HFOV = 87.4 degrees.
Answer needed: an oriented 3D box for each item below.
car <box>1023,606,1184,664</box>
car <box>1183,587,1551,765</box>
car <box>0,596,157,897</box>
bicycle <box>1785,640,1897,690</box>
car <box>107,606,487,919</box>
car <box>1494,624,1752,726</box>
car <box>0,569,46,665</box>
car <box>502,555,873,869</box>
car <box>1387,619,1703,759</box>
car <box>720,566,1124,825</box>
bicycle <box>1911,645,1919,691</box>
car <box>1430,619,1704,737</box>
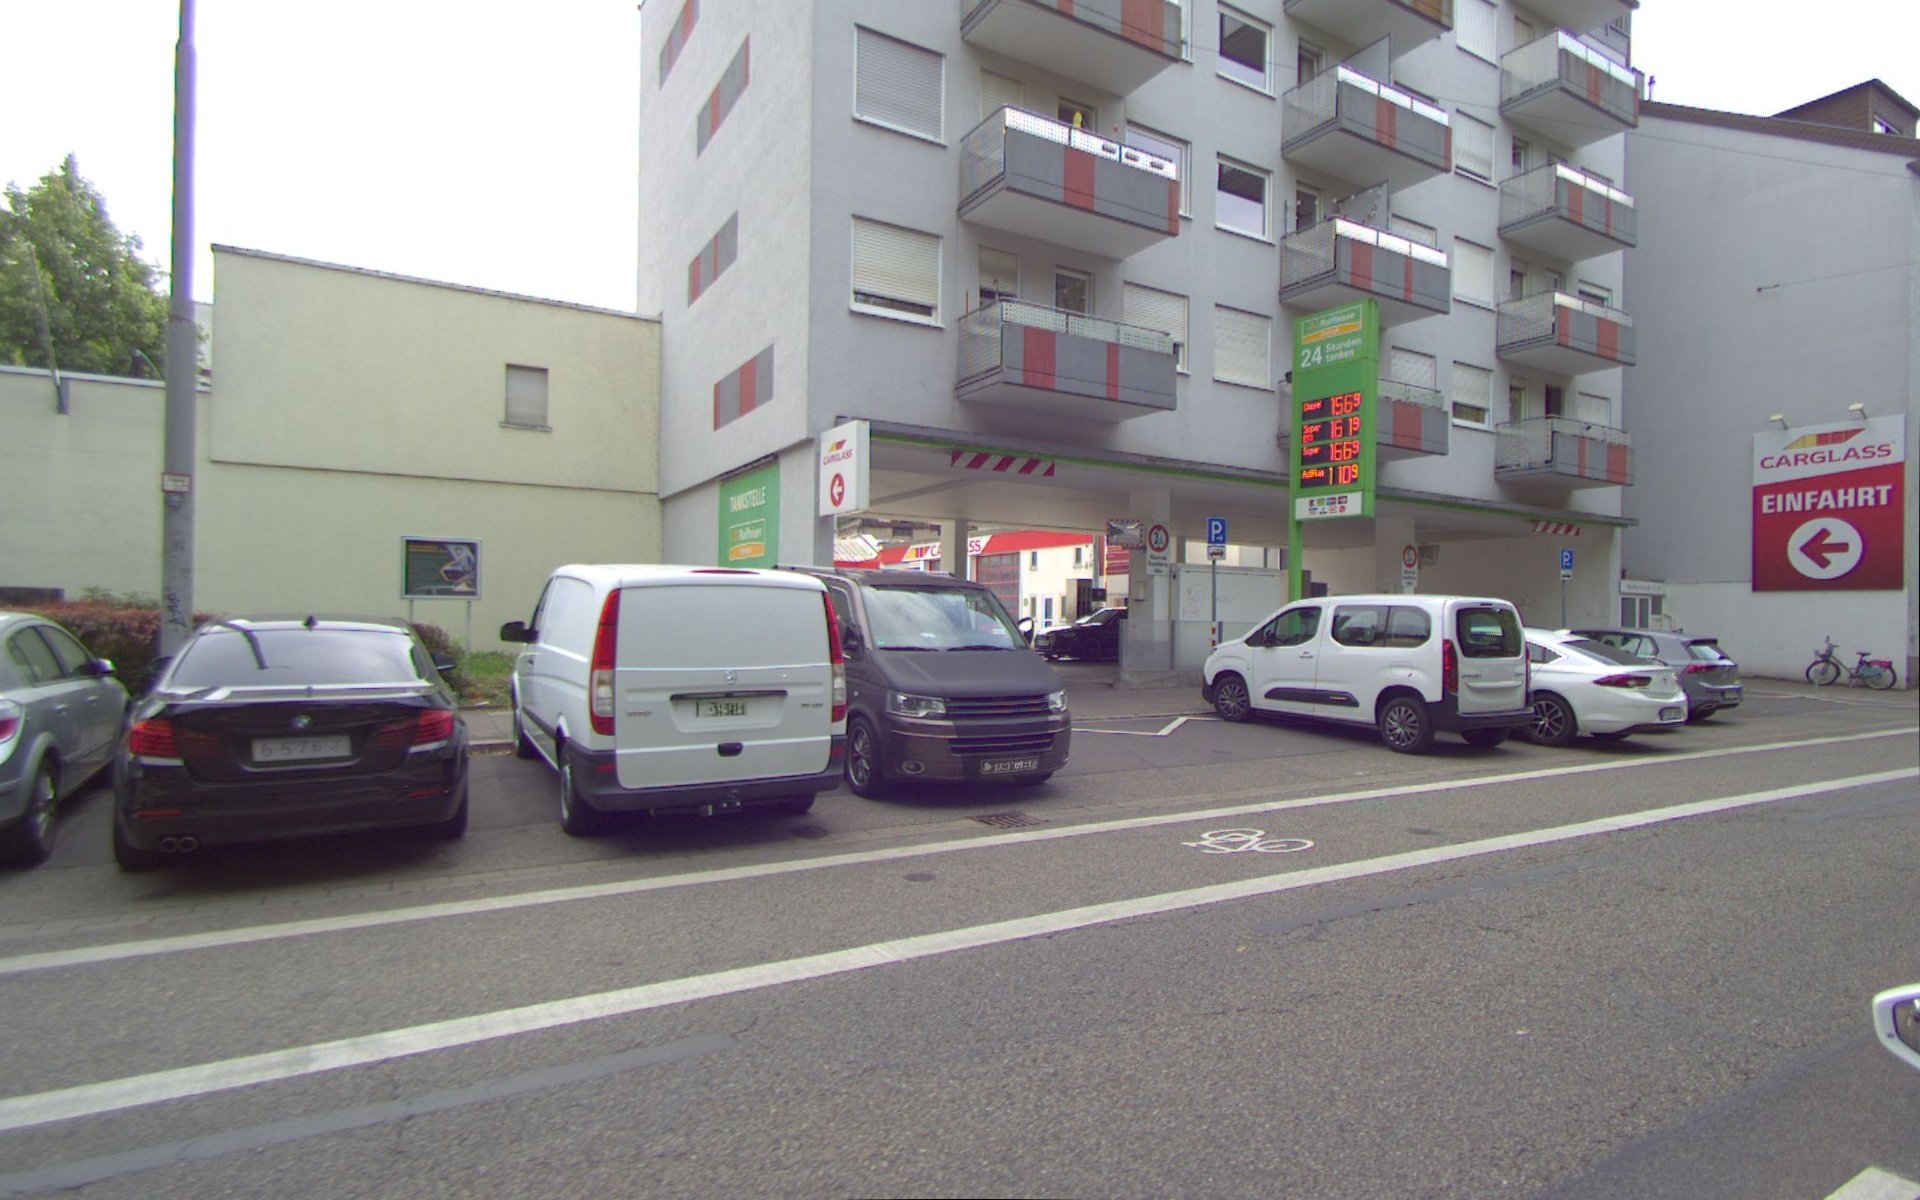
[{"bbox_3d":[3.774,0.899,26.307,3.953,1.416,1.771,1,-1,-30],"label":"car"},{"bbox_3d":[5.167,0.833,13.382,1.804,1.895,4.284,1,1,-31],"label":"car"},{"bbox_3d":[-6.643,0.771,6.520,1.733,1.505,3.663,1,1,-31],"label":"car"},{"bbox_3d":[21.155,1.543,24.163,0.405,1.048,2.000,-1,1,-28],"label":"bicycle"},{"bbox_3d":[-4.477,0.839,7.095,1.733,1.464,3.663,1,1,-30],"label":"car"},{"bbox_3d":[11.133,1.190,17.073,1.487,1.421,3.324,2,0,-32],"label":"car"},{"bbox_3d":[-15.355,0.237,13.761,3.961,1.350,1.799,-1,1,-36],"label":"car"},{"bbox_3d":[-2.595,0.637,8.553,2.022,1.904,4.506,1,1,-29],"label":"car"},{"bbox_3d":[7.742,1.084,13.563,1.578,1.517,3.324,2,0,-32],"label":"car"},{"bbox_3d":[-0.709,0.665,10.156,1.977,1.929,4.891,1,1,-30],"label":"car"},{"bbox_3d":[23.176,1.588,23.725,1.994,1.048,0.627,-1,1,-34],"label":"bicycle"},{"bbox_3d":[9.425,1.134,15.814,1.578,1.517,3.324,2,0,-32],"label":"car"}]
